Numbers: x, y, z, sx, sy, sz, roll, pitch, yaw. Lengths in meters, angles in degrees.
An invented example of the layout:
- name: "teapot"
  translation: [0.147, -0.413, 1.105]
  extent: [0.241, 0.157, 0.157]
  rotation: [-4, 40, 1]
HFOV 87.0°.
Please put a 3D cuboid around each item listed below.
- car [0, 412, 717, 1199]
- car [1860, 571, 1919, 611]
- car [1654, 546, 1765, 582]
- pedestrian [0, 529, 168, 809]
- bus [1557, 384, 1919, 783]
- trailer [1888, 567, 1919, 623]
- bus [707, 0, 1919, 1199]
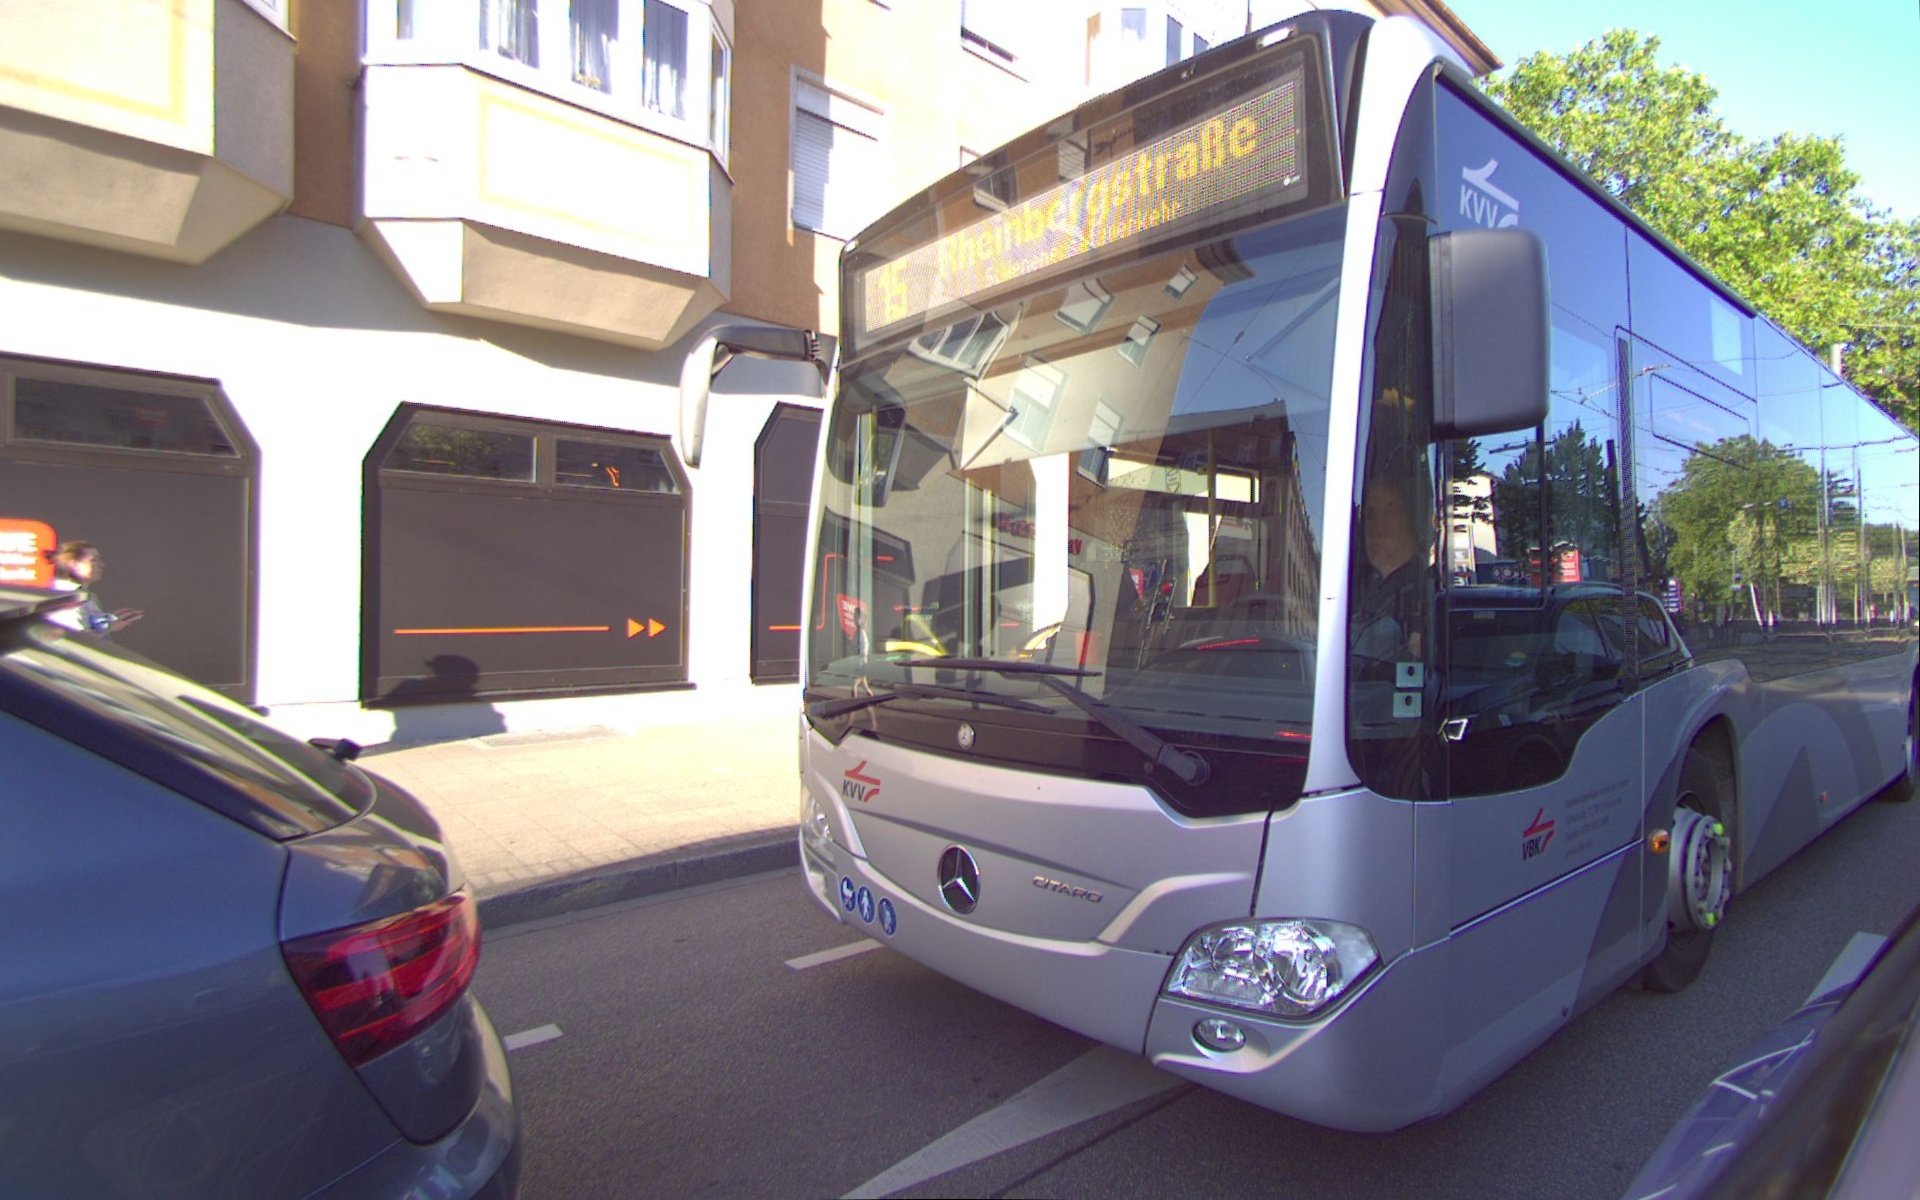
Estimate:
- name: "car"
  translation: [-2.435, 0.596, 0.763]
  extent: [4.014, 1.595, 1.773]
  rotation: [0, 2, -41]
- name: "car"
  translation: [41.389, -0.385, 44.797]
  extent: [3.930, 1.650, 1.799]
  rotation: [1, 2, -41]
- name: "car"
  translation: [37.266, -1.761, 50.400]
  extent: [1.770, 1.570, 4.120]
  rotation: [0, -1, -39]
- name: "pedestrian"
  translation: [-5.197, 0.375, 5.961]
  extent: [0.816, 1.544, 0.440]
  rotation: [0, 1, -41]
- name: "bus"
  translation: [9.945, -0.134, 11.606]
  extent: [8.698, 3.094, 2.743]
  rotation: [0, 0, -41]
- name: "trailer"
  translation: [46.484, -0.254, 48.901]
  extent: [4.569, 2.620, 1.888]
  rotation: [0, 1, -41]
- name: "bus"
  translation: [3.280, -0.128, 5.853]
  extent: [8.971, 3.094, 2.743]
  rotation: [0, 0, -41]
